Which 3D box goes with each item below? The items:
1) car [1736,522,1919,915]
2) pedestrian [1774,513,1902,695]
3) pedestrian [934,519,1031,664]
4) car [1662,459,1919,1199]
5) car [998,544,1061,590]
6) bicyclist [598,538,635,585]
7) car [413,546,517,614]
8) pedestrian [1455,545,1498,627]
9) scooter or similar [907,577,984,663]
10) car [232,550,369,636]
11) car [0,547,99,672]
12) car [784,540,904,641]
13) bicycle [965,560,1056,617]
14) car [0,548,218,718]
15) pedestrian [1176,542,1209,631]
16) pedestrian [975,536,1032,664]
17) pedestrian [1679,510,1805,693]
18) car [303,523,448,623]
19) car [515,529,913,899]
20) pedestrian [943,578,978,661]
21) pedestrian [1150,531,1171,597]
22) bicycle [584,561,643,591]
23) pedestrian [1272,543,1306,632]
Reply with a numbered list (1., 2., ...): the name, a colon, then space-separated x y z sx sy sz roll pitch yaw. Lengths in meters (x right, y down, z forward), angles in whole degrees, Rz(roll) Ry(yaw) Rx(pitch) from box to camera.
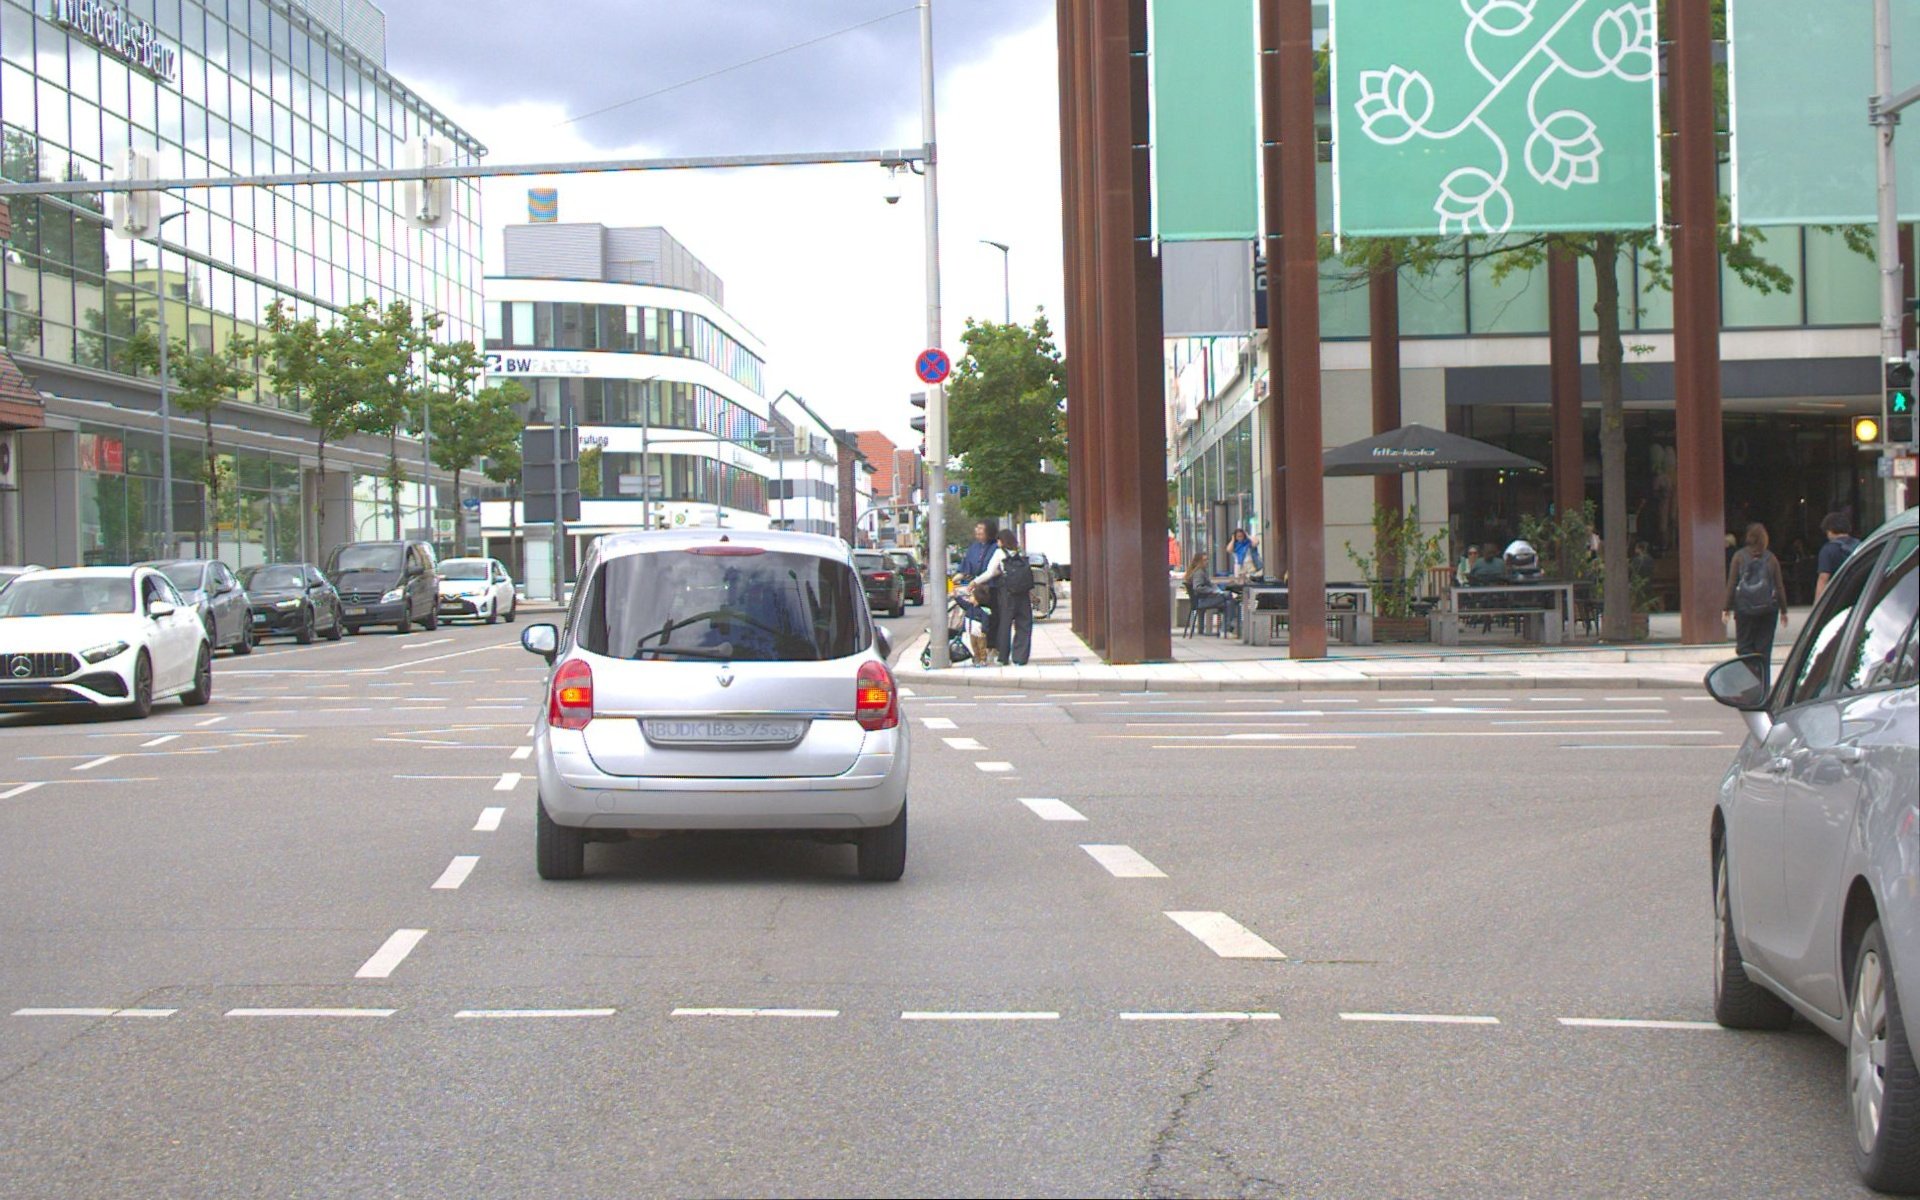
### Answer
1. car: 5.180 0.462 16.189 1.854 1.603 4.854 1 1 26
2. pedestrian: 8.282 0.027 32.469 0.878 1.675 1.120 -1 1 -2
3. pedestrian: 0.258 -0.099 39.526 0.871 1.641 0.679 0 1 35
4. car: 3.049 0.534 9.228 1.740 1.695 4.380 1 1 5
5. car: 2.150 -1.020 105.511 1.877 1.330 4.000 1 1 1
6. bicyclist: -12.059 -1.351 120.681 1.006 1.655 0.933 1 0 -26
7. car: -11.186 -0.472 77.886 1.660 1.460 4.000 -2 1 1
8. pedestrian: 7.765 -0.217 51.705 0.515 1.204 0.796 -1 2 -1
9. scooter or similar: -0.164 0.226 39.016 0.634 0.958 0.619 0 1 35
10. car: -11.605 -0.153 60.729 1.702 1.438 4.000 -1 1 -1
11. car: -12.420 0.134 43.482 1.635 1.413 4.199 -3 2 5
12. car: -1.844 -0.179 55.490 1.670 1.549 3.642 1 1 2
13. bicycle: 0.899 -0.205 61.250 1.561 0.989 0.752 -1 1 4
14. car: -8.342 0.271 32.598 1.744 1.454 4.235 -2 1 -1
15. pedestrian: 3.229 -0.194 47.723 0.447 1.216 0.606 -1 1 4
16. pedestrian: 0.488 -0.002 38.595 0.601 1.415 0.582 -1 1 3
17. pedestrian: 7.344 0.002 32.330 0.878 1.675 1.120 -1 1 -2
18. car: -11.813 -0.574 69.828 1.865 1.903 5.113 -2 1 2
19. car: -1.086 0.452 16.472 1.669 1.549 3.642 1 1 -1
20. pedestrian: 0.004 0.215 38.577 0.362 0.921 0.454 -1 1 3
21. pedestrian: 4.702 -0.853 80.675 0.427 1.544 0.481 -1 1 -1
22. bicycle: -12.201 -0.842 120.953 1.006 1.015 3.130 1 0 -26
23. pedestrian: 4.553 -0.172 47.619 0.448 1.216 0.606 -1 1 5
